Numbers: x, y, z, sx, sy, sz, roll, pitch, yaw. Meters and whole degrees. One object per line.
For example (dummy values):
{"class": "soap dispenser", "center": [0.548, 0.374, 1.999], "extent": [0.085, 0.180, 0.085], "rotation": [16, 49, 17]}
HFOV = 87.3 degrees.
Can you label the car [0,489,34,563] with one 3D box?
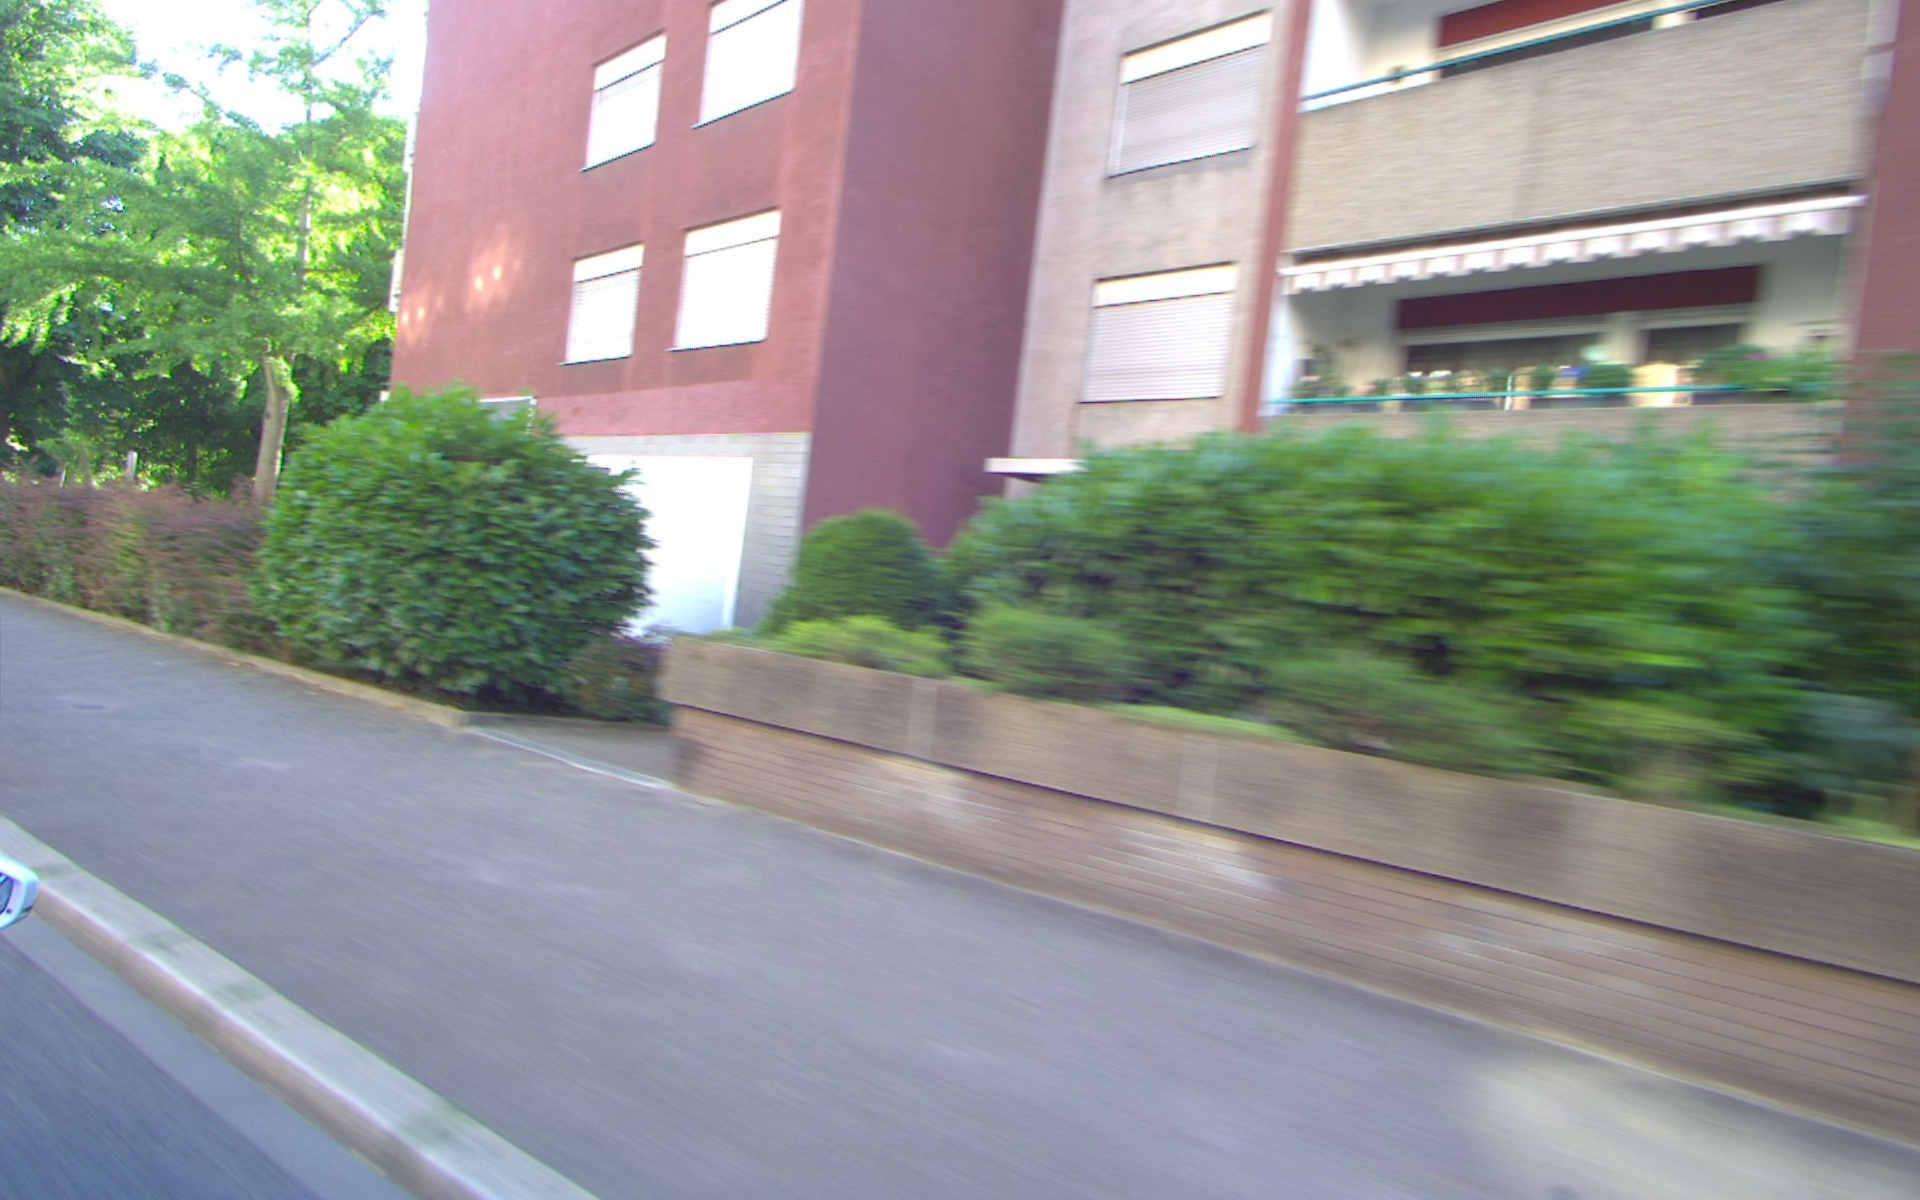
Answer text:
{"class": "car", "center": [-24.612, -2.041, 23.241], "extent": [1.971, 1.673, 4.433], "rotation": [8, 0, 40]}
